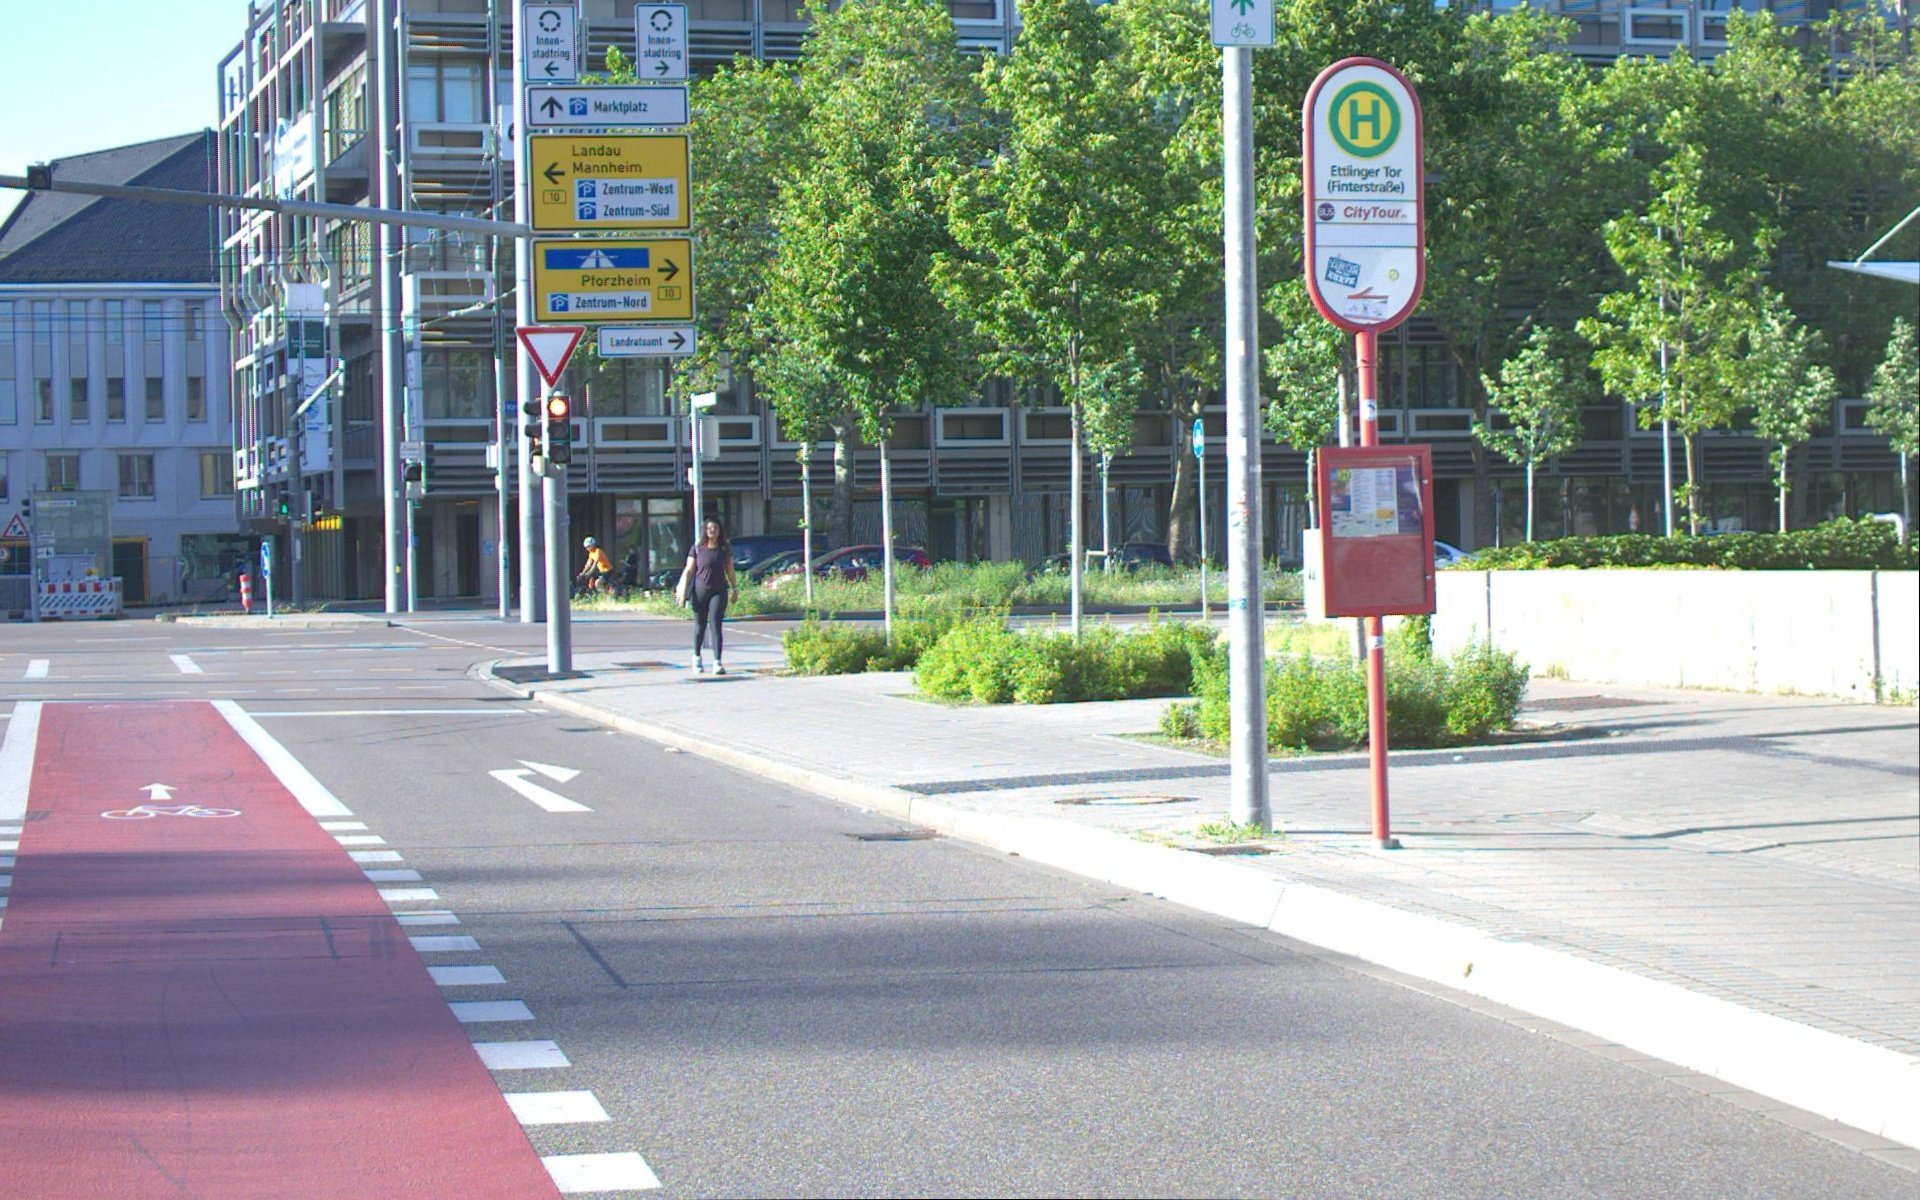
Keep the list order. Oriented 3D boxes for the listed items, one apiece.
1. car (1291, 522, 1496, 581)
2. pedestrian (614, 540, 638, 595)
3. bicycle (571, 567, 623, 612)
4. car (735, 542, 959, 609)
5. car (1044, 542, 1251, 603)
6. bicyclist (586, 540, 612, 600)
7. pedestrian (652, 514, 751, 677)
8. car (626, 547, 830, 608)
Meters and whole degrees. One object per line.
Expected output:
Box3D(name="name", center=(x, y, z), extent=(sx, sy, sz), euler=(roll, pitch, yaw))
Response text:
Box3D(name="car", center=(10.747, -1.208, 85.307), extent=(4.629, 1.351, 2.001), euler=(-1, 2, -17))
Box3D(name="pedestrian", center=(-9.231, -0.899, 95.082), extent=(0.622, 1.513, 0.653), euler=(-1, 1, -5))
Box3D(name="bicycle", center=(-8.081, -0.232, 76.528), extent=(1.076, 0.967, 0.458), euler=(-1, 1, -12))
Box3D(name="car", center=(-2.531, -0.561, 76.848), extent=(4.629, 1.351, 2.001), euler=(-1, 2, -17))
Box3D(name="car", center=(4.575, -0.681, 84.009), extent=(4.629, 1.351, 2.001), euler=(-1, 2, -17))
Box3D(name="bicyclist", center=(-8.038, -0.668, 76.536), extent=(0.508, 1.334, 0.453), euler=(-1, 1, -11))
Box3D(name="pedestrian", center=(-2.844, -0.058, 37.922), extent=(0.822, 1.742, 1.041), euler=(-2, 1, 8))
Box3D(name="car", center=(-5.666, -0.566, 83.958), extent=(4.629, 1.351, 2.001), euler=(-1, 2, -17))
